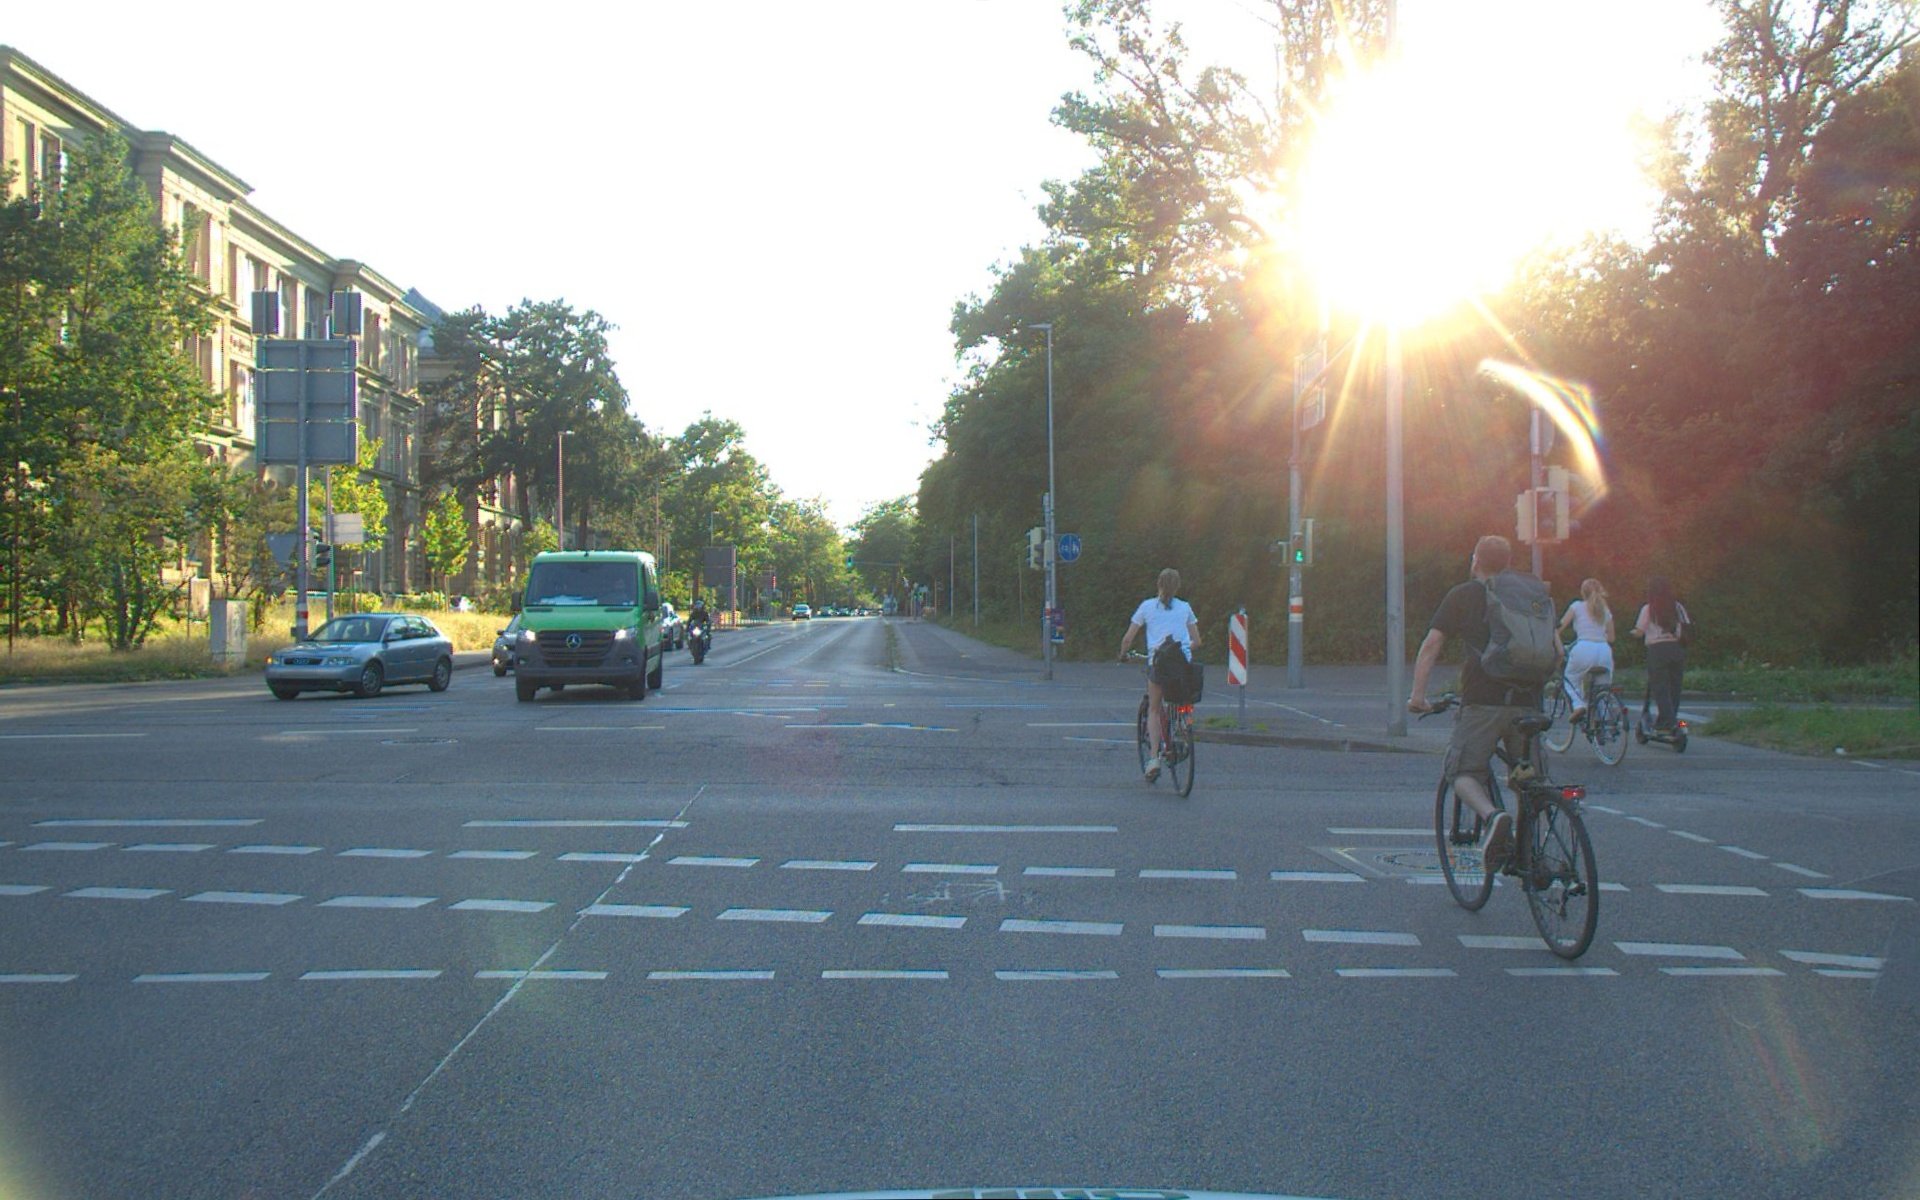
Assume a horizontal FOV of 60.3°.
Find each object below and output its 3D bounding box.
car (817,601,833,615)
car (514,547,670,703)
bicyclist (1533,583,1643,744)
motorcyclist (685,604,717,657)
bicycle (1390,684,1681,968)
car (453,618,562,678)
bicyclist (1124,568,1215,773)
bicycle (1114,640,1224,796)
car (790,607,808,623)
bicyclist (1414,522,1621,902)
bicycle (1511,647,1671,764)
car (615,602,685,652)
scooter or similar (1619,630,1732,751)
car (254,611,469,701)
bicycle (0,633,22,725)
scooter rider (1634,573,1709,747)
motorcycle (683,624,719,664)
[{"bbox_3d":[-17.049,1.010,208.727,1.955,1.668,3.995,0,0,-5],"label":"car"},{"bbox_3d":[-6.004,0.381,27.647,2.000,2.318,5.931,0,0,-7],"label":"car"},{"bbox_3d":[6.197,0.614,16.350,0.744,1.544,0.856,0,0,-2],"label":"bicyclist"},{"bbox_3d":[-6.877,0.797,43.929,0.734,1.382,0.703,-1,-1,-2],"label":"motorcyclist"},{"bbox_3d":[2.614,0.980,7.735,0.684,1.081,1.824,1,0,-1],"label":"bicycle"},{"bbox_3d":[-10.856,1.115,39.912,1.729,1.351,3.641,0,0,-2],"label":"car"},{"bbox_3d":[1.700,0.562,13.508,0.591,1.613,0.909,1,-1,-2],"label":"bicyclist"},{"bbox_3d":[1.695,0.930,13.639,0.601,1.158,1.883,1,0,-2],"label":"bicycle"},{"bbox_3d":[-15.886,1.456,163.254,1.736,1.500,3.771,0,0,-6],"label":"car"},{"bbox_3d":[2.617,0.505,7.838,0.684,1.696,0.798,1,-1,-2],"label":"bicyclist"},{"bbox_3d":[6.194,1.008,16.365,0.755,1.024,2.015,1,0,-2],"label":"bicycle"},{"bbox_3d":[-10.915,0.934,58.546,1.729,1.664,4.511,0,0,-2],"label":"car"},{"bbox_3d":[7.497,0.929,17.384,0.550,1.210,1.422,0,-1,-1],"label":"scooter or similar"},{"bbox_3d":[-10.316,0.924,28.834,1.693,1.433,4.143,0,0,10],"label":"car"},{"bbox_3d":[-12.273,0.985,20.005,0.672,1.143,2.168,0,0,-2],"label":"bicycle"},{"bbox_3d":[7.496,0.624,17.432,0.554,1.797,0.505,0,-1,-1],"label":"scooter rider"},{"bbox_3d":[-6.872,1.149,43.959,0.739,1.019,1.878,0,0,-2],"label":"motorcycle"}]
